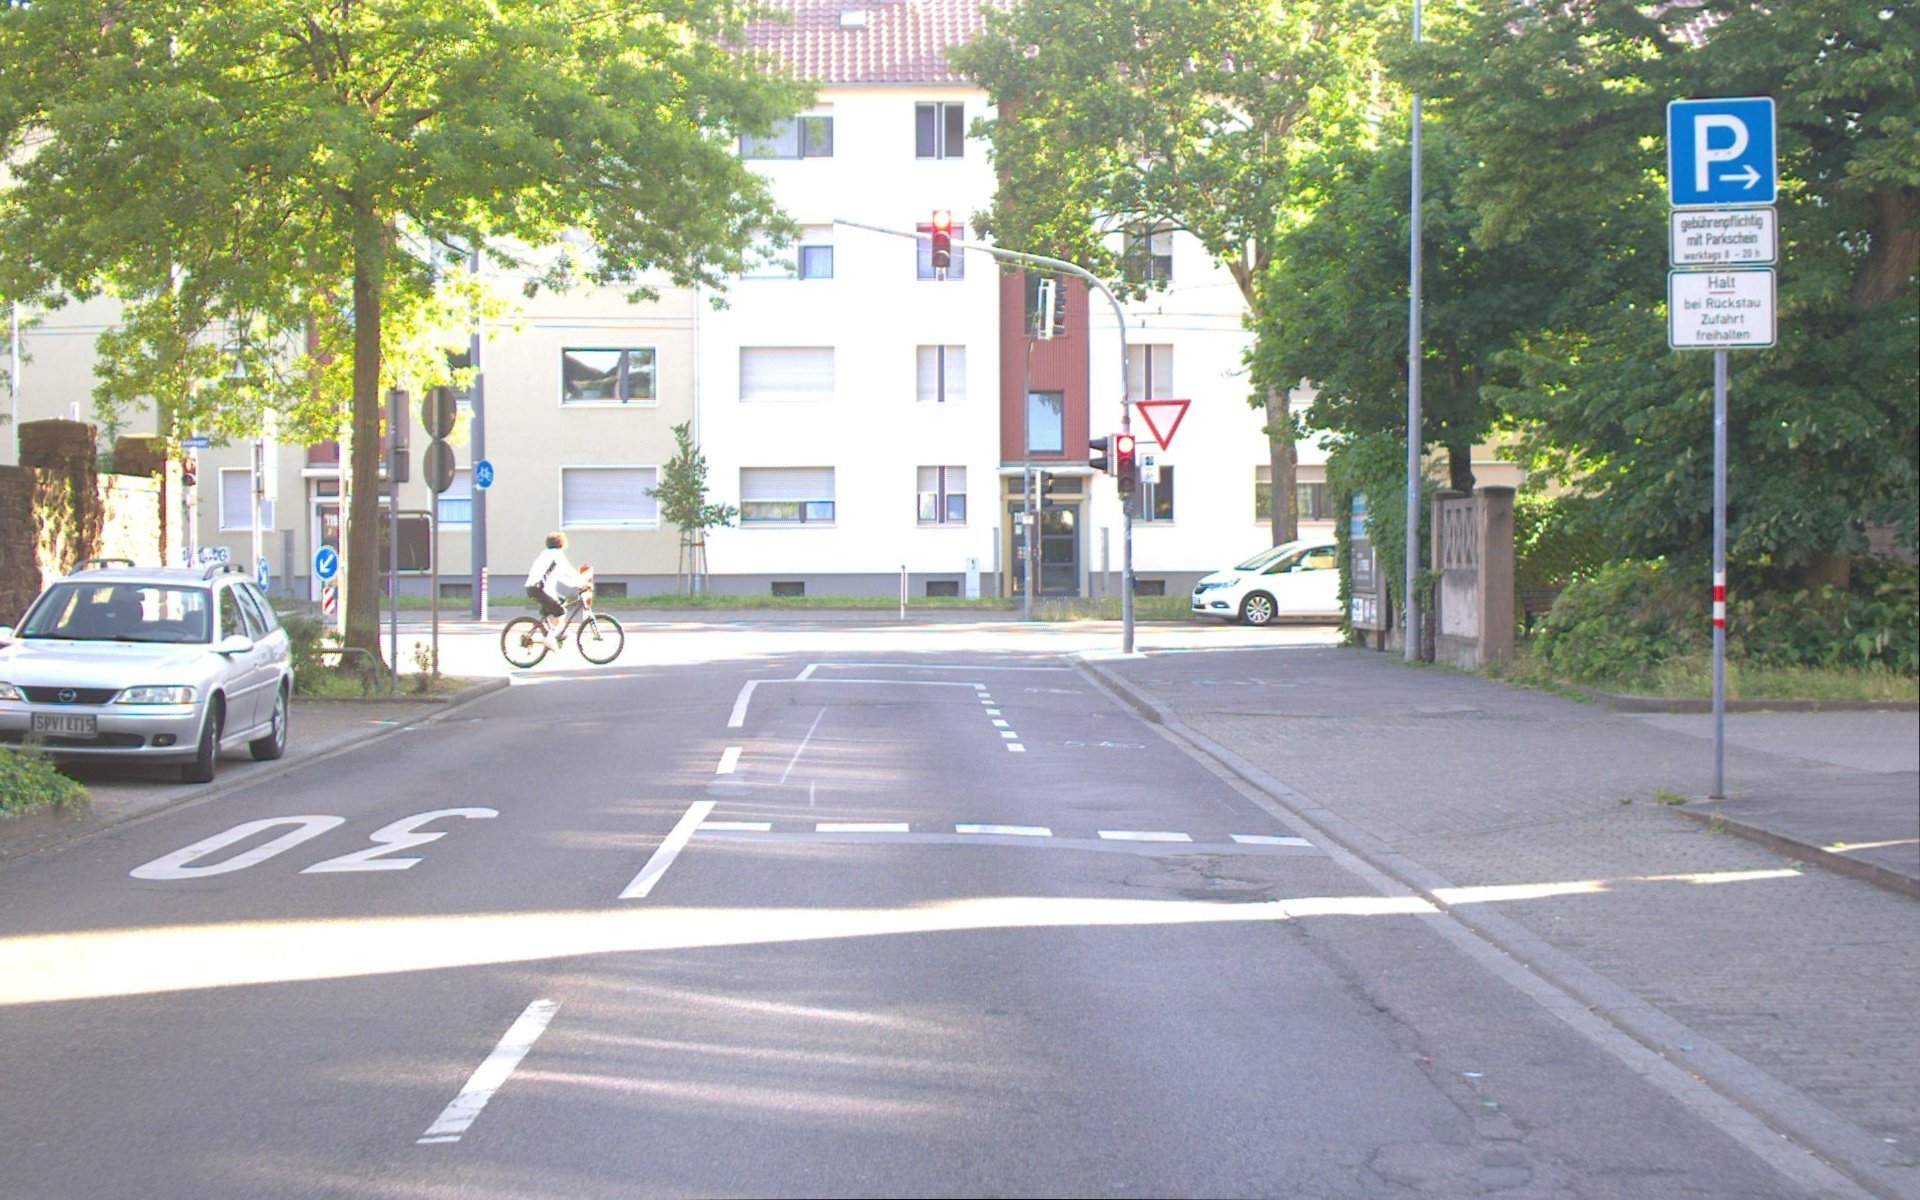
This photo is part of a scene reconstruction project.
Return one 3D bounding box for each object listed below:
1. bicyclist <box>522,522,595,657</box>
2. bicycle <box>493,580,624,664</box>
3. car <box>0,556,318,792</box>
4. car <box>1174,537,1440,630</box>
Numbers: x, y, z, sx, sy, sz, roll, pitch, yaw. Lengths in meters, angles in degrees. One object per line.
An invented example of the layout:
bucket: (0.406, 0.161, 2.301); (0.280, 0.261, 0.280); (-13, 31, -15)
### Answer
bicyclist: (-5.285, -0.145, 45.263); (0.786, 1.751, 0.612); (0, 1, -28)
bicycle: (-5.286, 0.279, 45.291); (1.683, 1.076, 0.351); (-1, 1, -27)
car: (-5.839, 0.452, 24.556); (1.726, 1.470, 4.478); (2, 1, -1)
car: (6.623, -0.333, 65.832); (4.660, 1.733, 2.001); (0, 1, -13)
